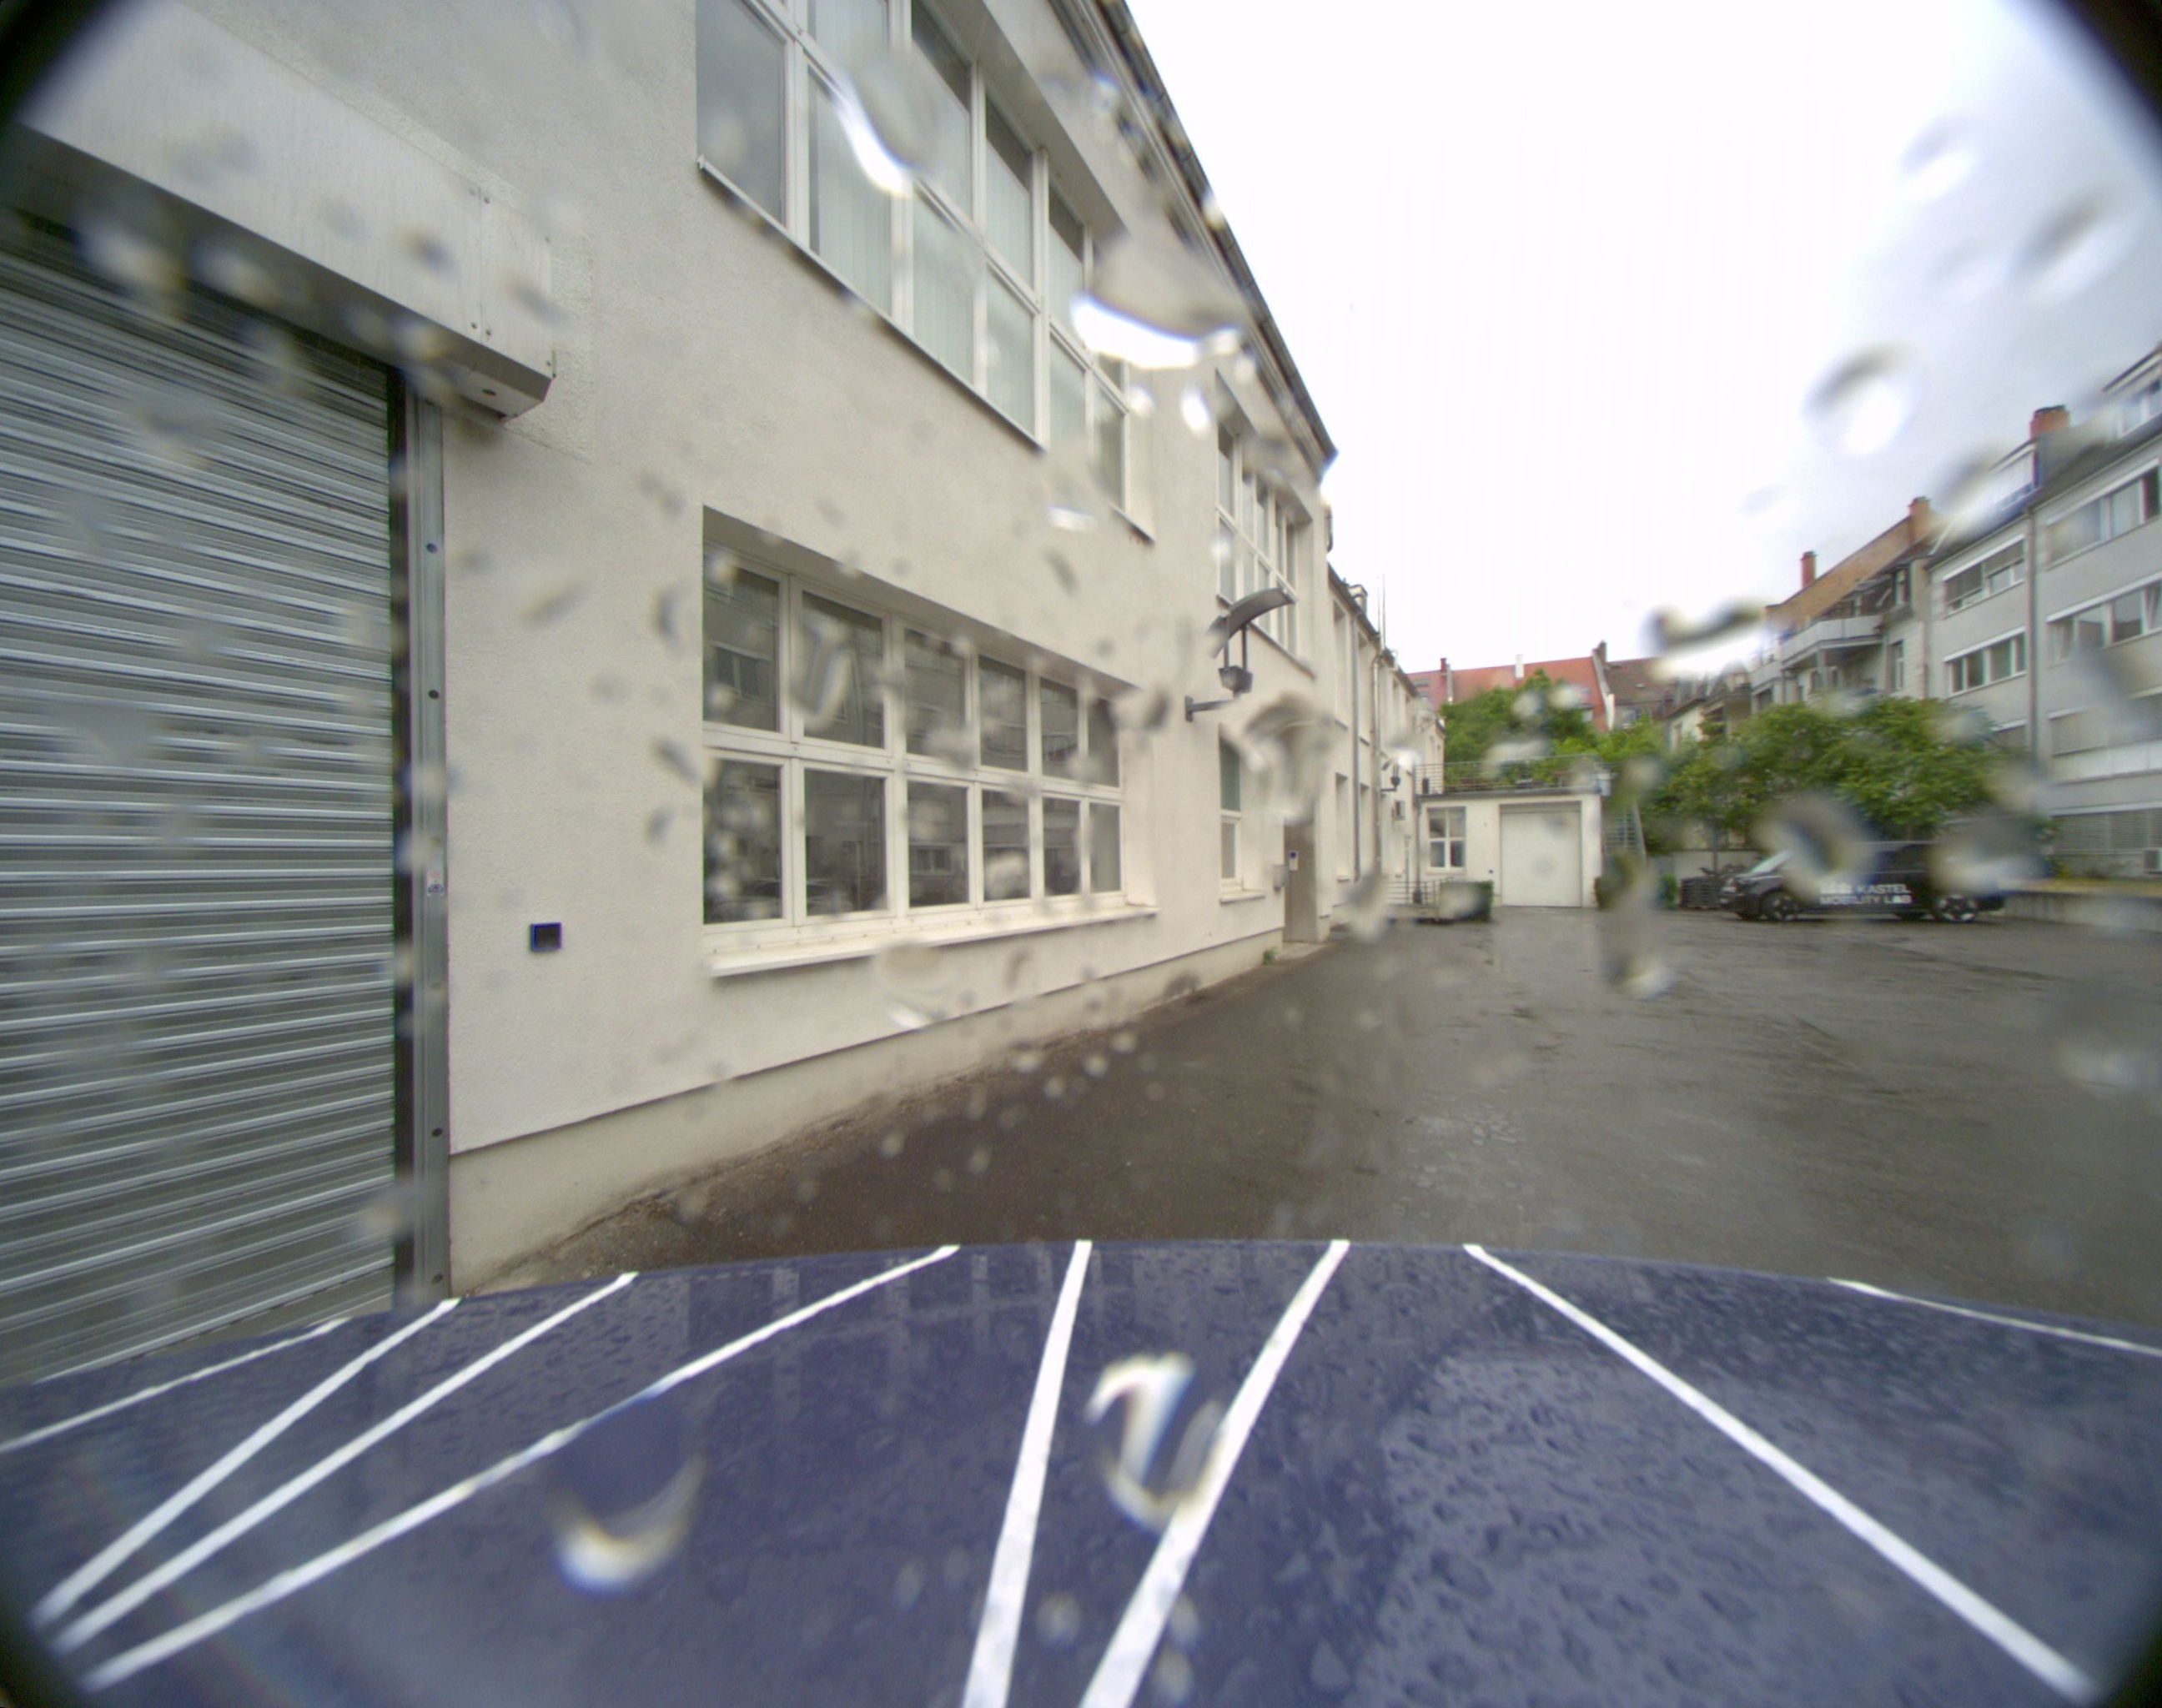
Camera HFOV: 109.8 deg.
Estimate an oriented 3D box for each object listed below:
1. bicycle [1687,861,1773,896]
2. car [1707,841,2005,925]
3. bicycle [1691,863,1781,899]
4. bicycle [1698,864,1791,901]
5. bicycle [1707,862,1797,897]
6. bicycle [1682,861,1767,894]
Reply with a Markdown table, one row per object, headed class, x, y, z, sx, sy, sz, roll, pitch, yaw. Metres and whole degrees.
| class | x | y | z | sx | sy | sz | roll | pitch | yaw |
| --- | --- | --- | --- | --- | --- | --- | --- | --- | --- |
| bicycle | 23.535 | 0.896 | 27.607 | 2.315 | 1.179 | 0.644 | -1 | 2 | 31 |
| car | 18.457 | 0.716 | 18.453 | 4.620 | 1.825 | 1.992 | -2 | -2 | 24 |
| bicycle | 22.906 | 0.941 | 26.620 | 2.315 | 1.179 | 0.644 | -1 | 2 | 31 |
| bicycle | 22.566 | 0.970 | 25.892 | 2.315 | 1.179 | 0.644 | -1 | 2 | 31 |
| bicycle | 23.718 | 0.904 | 26.909 | 2.315 | 1.179 | 0.644 | -1 | 2 | 31 |
| bicycle | 23.816 | 0.872 | 28.177 | 2.315 | 1.179 | 0.644 | -1 | 2 | 31 |
